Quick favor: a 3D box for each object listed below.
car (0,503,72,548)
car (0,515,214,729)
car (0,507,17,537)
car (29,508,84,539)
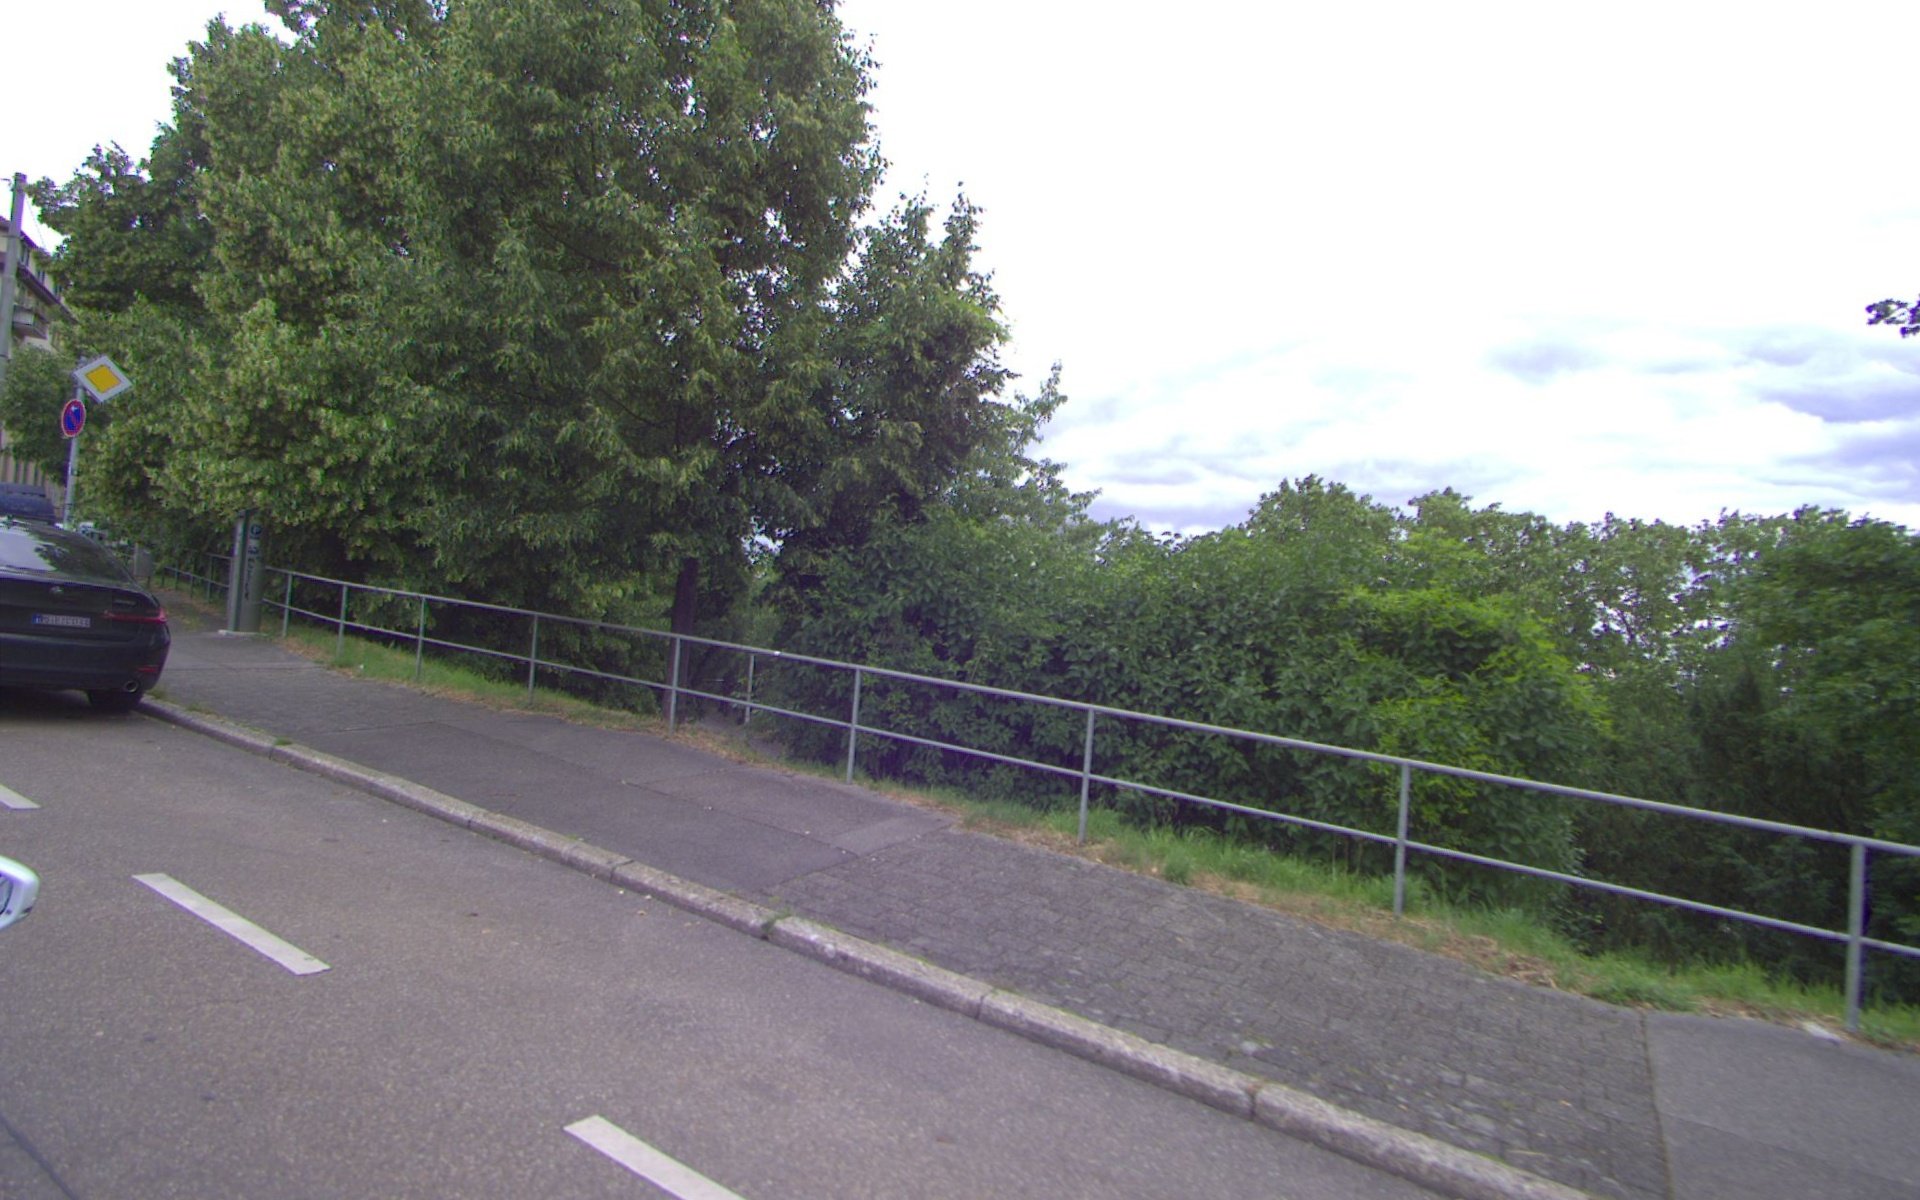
[{"bbox_3d":[-38.801,-3.094,41.714,1.979,1.496,4.431,8,-2,-30],"label":"car"},{"bbox_3d":[-8.453,-0.037,8.345,4.766,1.445,1.833,6,-3,31],"label":"car"},{"bbox_3d":[-52.057,-4.294,53.484,1.981,1.570,3.966,8,-2,-33],"label":"car"},{"bbox_3d":[-60.018,-5.052,66.906,1.981,1.636,3.966,8,-2,-33],"label":"car"}]
